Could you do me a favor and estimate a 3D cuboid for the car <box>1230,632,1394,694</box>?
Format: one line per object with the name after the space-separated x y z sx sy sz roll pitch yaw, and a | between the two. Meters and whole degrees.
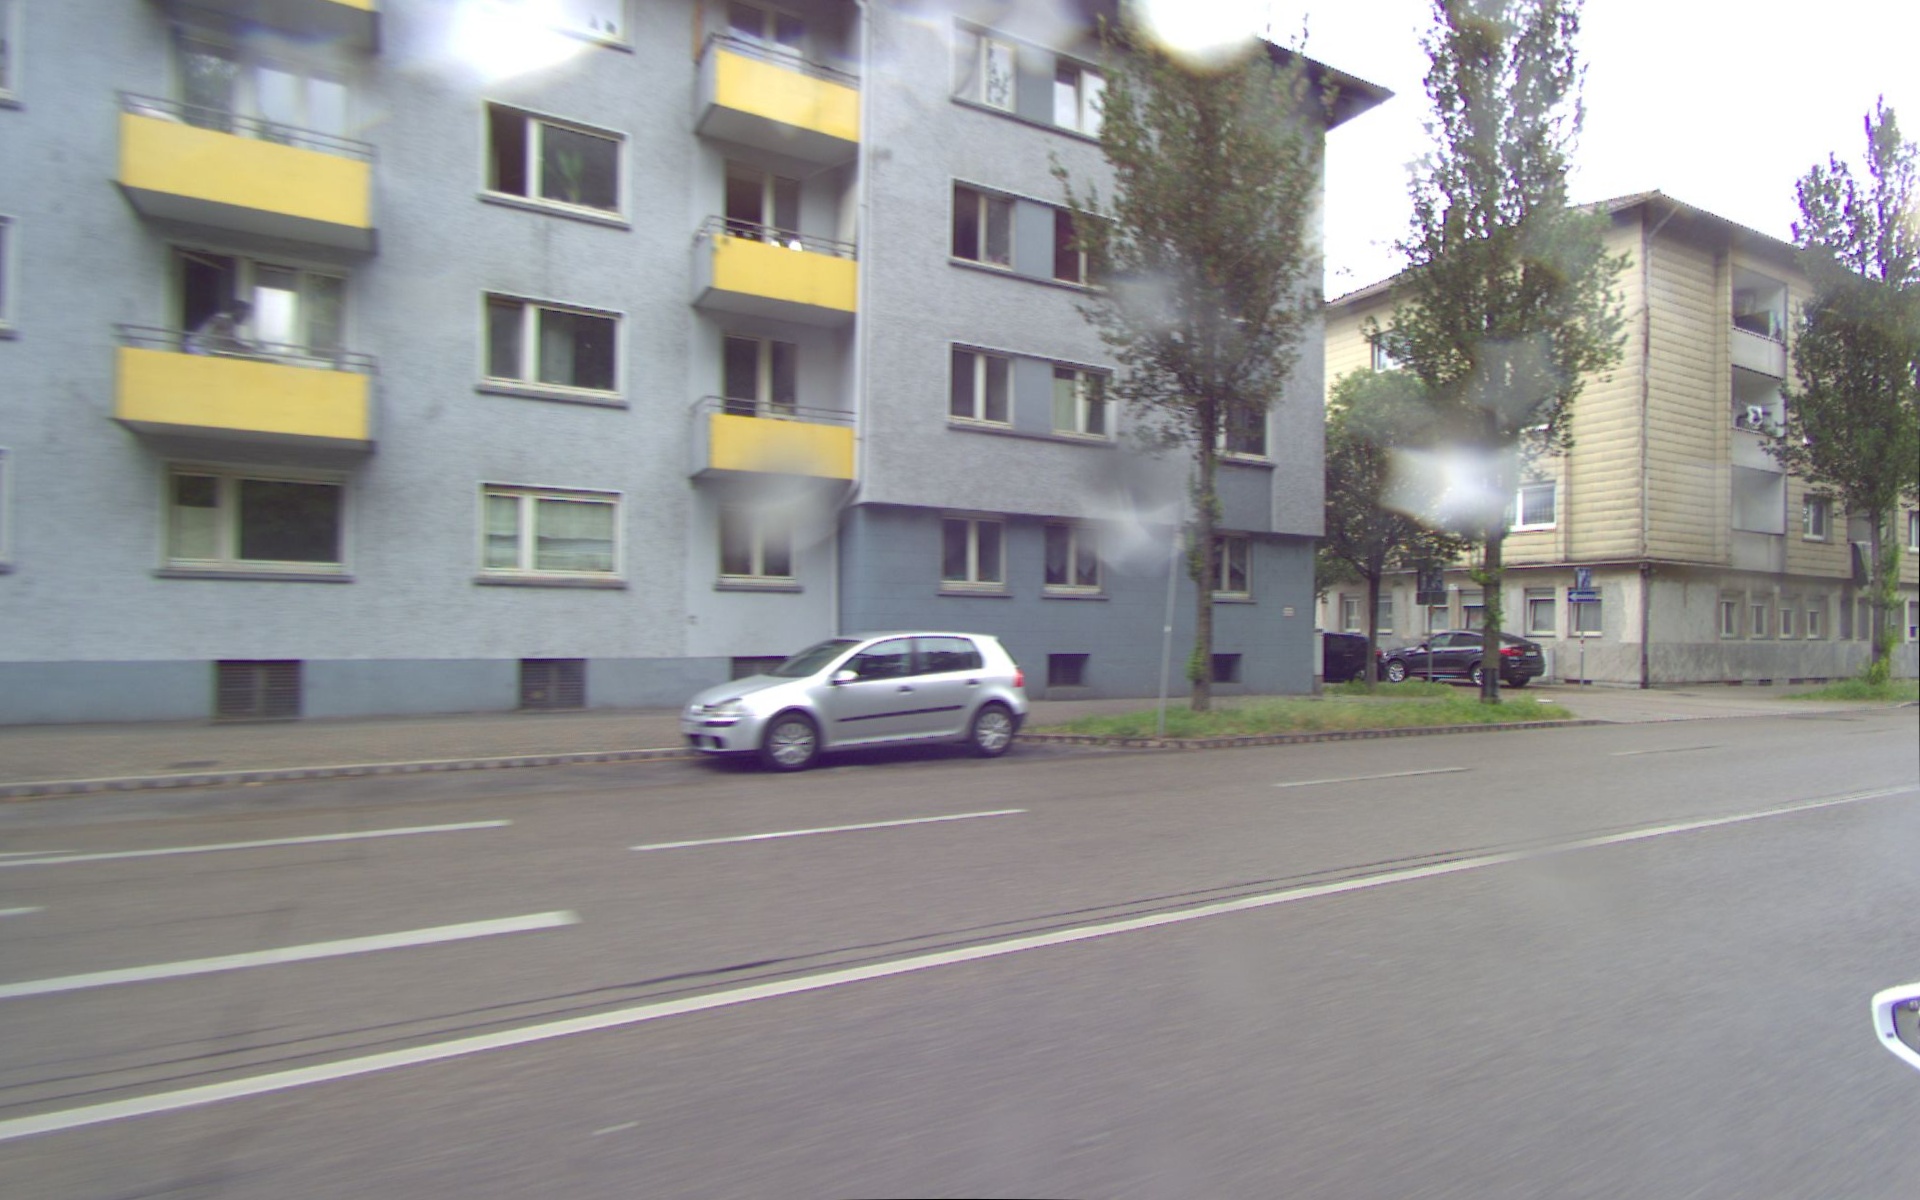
9.080 1.631 26.246 3.919 1.513 1.715 0 -3 15 | car

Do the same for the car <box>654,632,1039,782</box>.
-1.252 1.132 11.739 4.159 1.472 1.715 2 -2 -32 | car

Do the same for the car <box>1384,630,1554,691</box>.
14.807 1.704 29.433 1.902 1.600 4.133 0 -1 -28 | car
